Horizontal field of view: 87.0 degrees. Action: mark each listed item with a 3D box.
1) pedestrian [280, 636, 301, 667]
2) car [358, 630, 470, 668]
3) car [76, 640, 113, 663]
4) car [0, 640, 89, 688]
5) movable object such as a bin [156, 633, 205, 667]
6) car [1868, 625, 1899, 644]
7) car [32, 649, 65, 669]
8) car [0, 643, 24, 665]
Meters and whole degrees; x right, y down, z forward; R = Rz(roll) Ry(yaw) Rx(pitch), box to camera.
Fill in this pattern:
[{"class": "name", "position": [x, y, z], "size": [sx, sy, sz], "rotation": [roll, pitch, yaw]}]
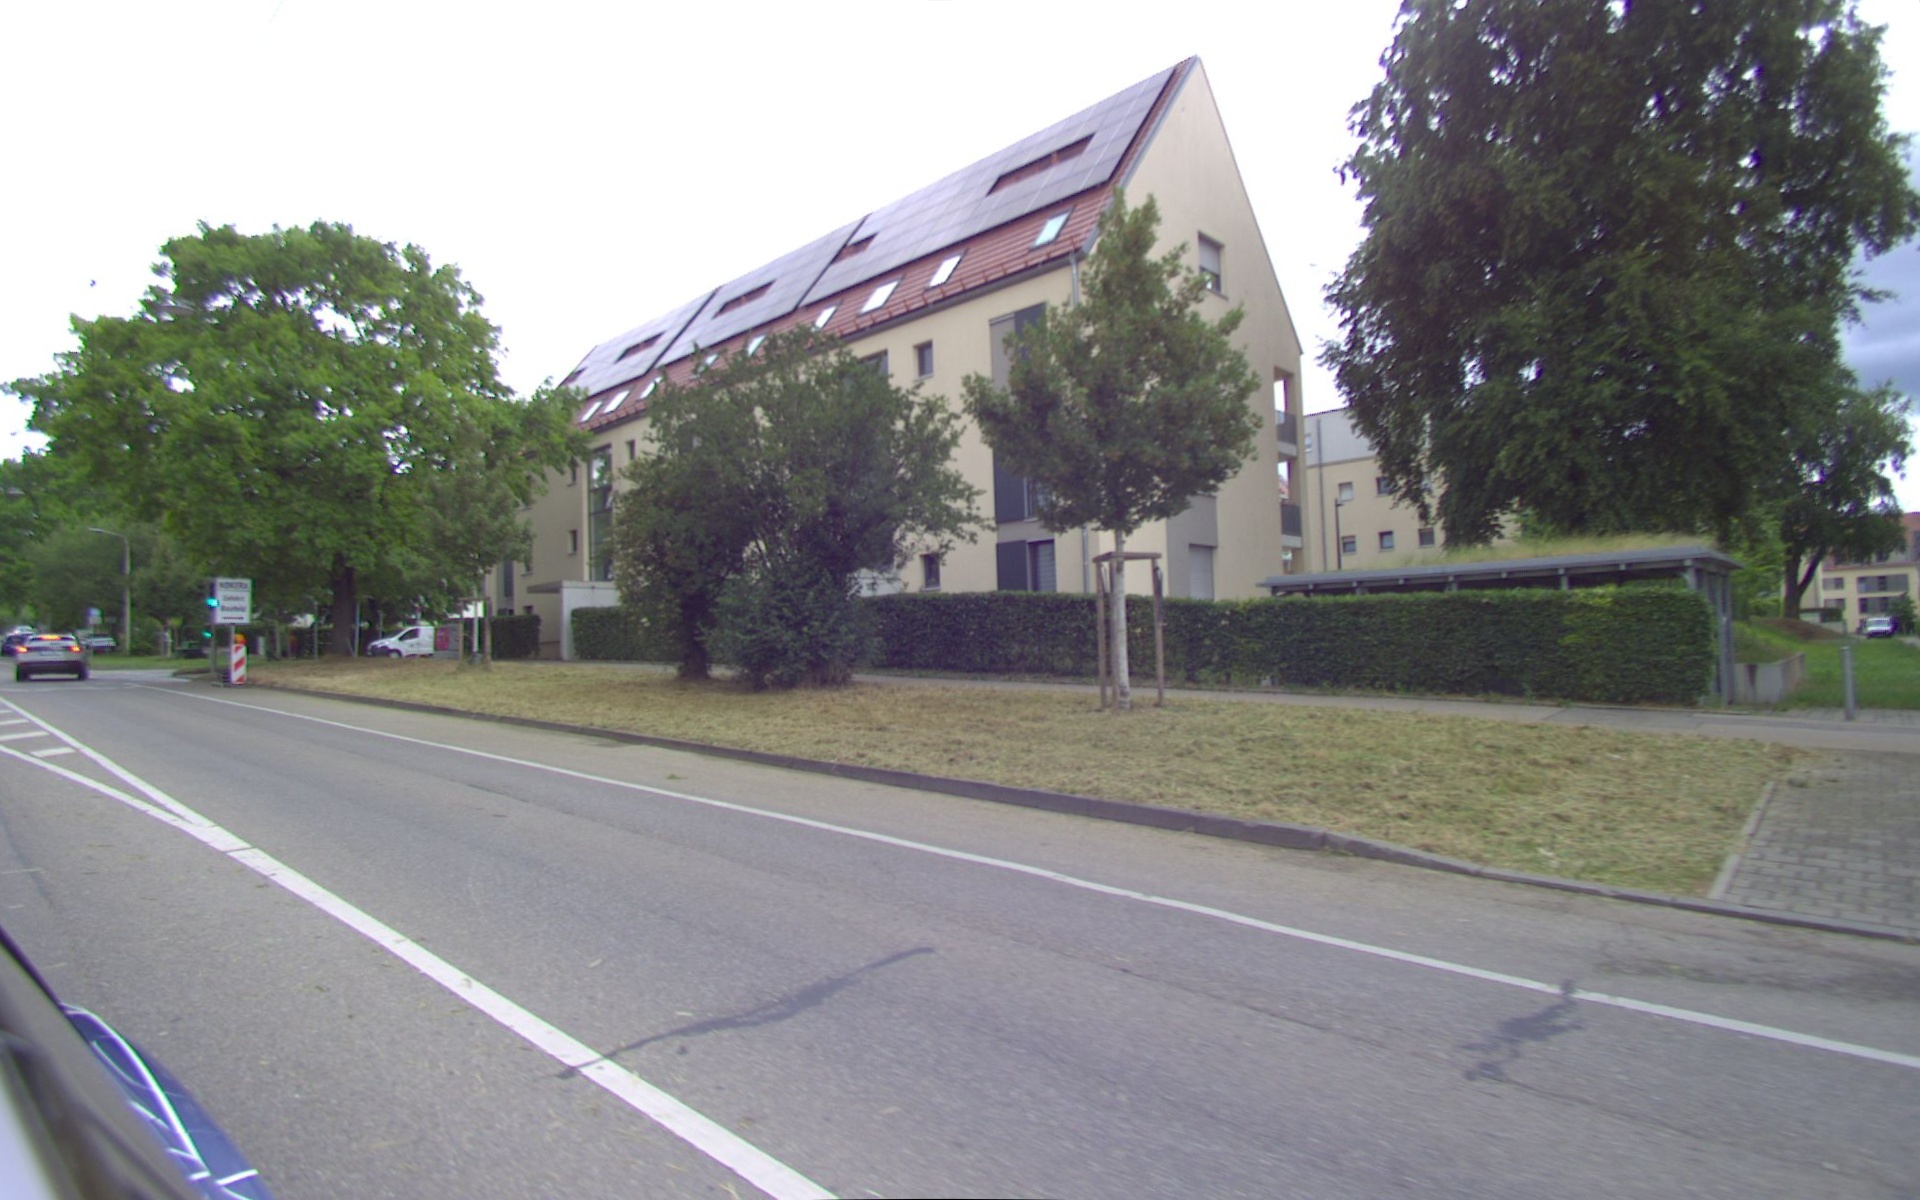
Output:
[{"class": "pedestrian", "position": [-39.131, 3.024, 59.170], "size": [0.683, 1.770, 0.774], "rotation": [-1, -1, 11]}, {"class": "car", "position": [-29.865, 2.640, 55.474], "size": [2.000, 1.932, 5.084], "rotation": [-2, -2, 43]}, {"class": "car", "position": [-66.315, 3.934, 77.532], "size": [4.001, 1.618, 1.835], "rotation": [-2, -2, 44]}, {"class": "car", "position": [-29.971, 2.052, 33.072], "size": [4.028, 1.475, 1.782], "rotation": [-2, -4, 42]}, {"class": "movable object such as a bin", "position": [-45.417, 2.937, 58.955], "size": [3.236, 1.918, 1.088], "rotation": [-2, -2, 29]}, {"class": "car", "position": [95.549, 3.596, 104.722], "size": [1.998, 1.896, 3.948], "rotation": [-2, -2, 39]}, {"class": "car", "position": [-68.466, 4.423, 75.993], "size": [4.001, 1.364, 1.582], "rotation": [-2, -2, 44]}, {"class": "car", "position": [-77.036, 4.391, 81.754], "size": [1.969, 1.697, 4.005], "rotation": [0, -2, -42]}]
